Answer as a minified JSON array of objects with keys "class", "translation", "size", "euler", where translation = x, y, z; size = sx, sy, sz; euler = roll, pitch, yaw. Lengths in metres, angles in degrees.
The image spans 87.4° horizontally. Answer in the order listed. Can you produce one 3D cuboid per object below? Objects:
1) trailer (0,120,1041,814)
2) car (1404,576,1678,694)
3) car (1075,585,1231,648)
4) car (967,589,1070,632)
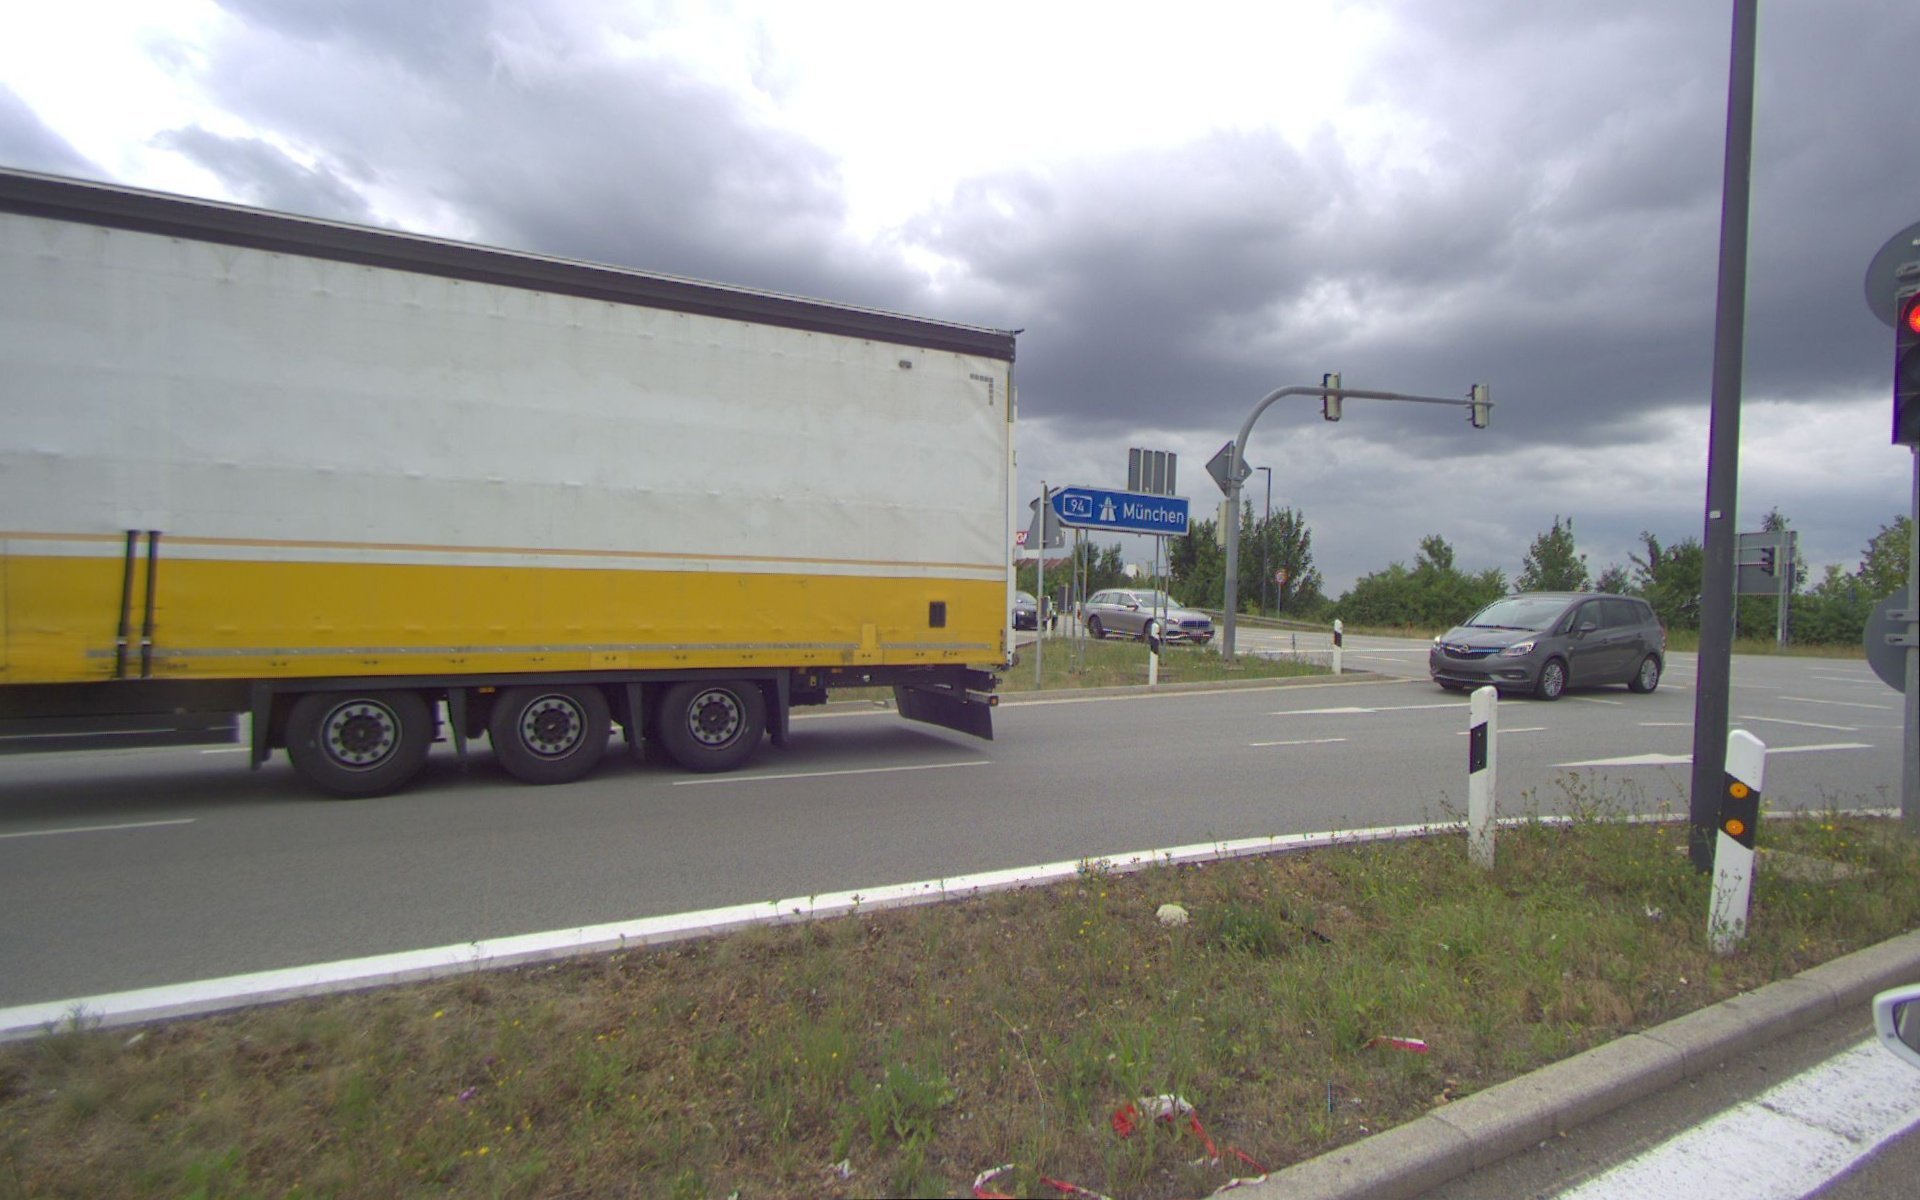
[{"class":"trailer","translation":[-5.875,-0.802,7.730],"size":[13.671,4.266,2.680],"euler":[2,0,-29]},{"class":"car","translation":[9.616,0.561,16.567],"size":[4.403,1.716,1.984],"euler":[2,0,-30]},{"class":"car","translation":[5.465,0.404,29.199],"size":[1.895,1.632,4.915],"euler":[0,1,-26]},{"class":"car","translation":[2.045,0.340,36.749],"size":[1.690,1.429,4.643],"euler":[2,0,-26]}]
